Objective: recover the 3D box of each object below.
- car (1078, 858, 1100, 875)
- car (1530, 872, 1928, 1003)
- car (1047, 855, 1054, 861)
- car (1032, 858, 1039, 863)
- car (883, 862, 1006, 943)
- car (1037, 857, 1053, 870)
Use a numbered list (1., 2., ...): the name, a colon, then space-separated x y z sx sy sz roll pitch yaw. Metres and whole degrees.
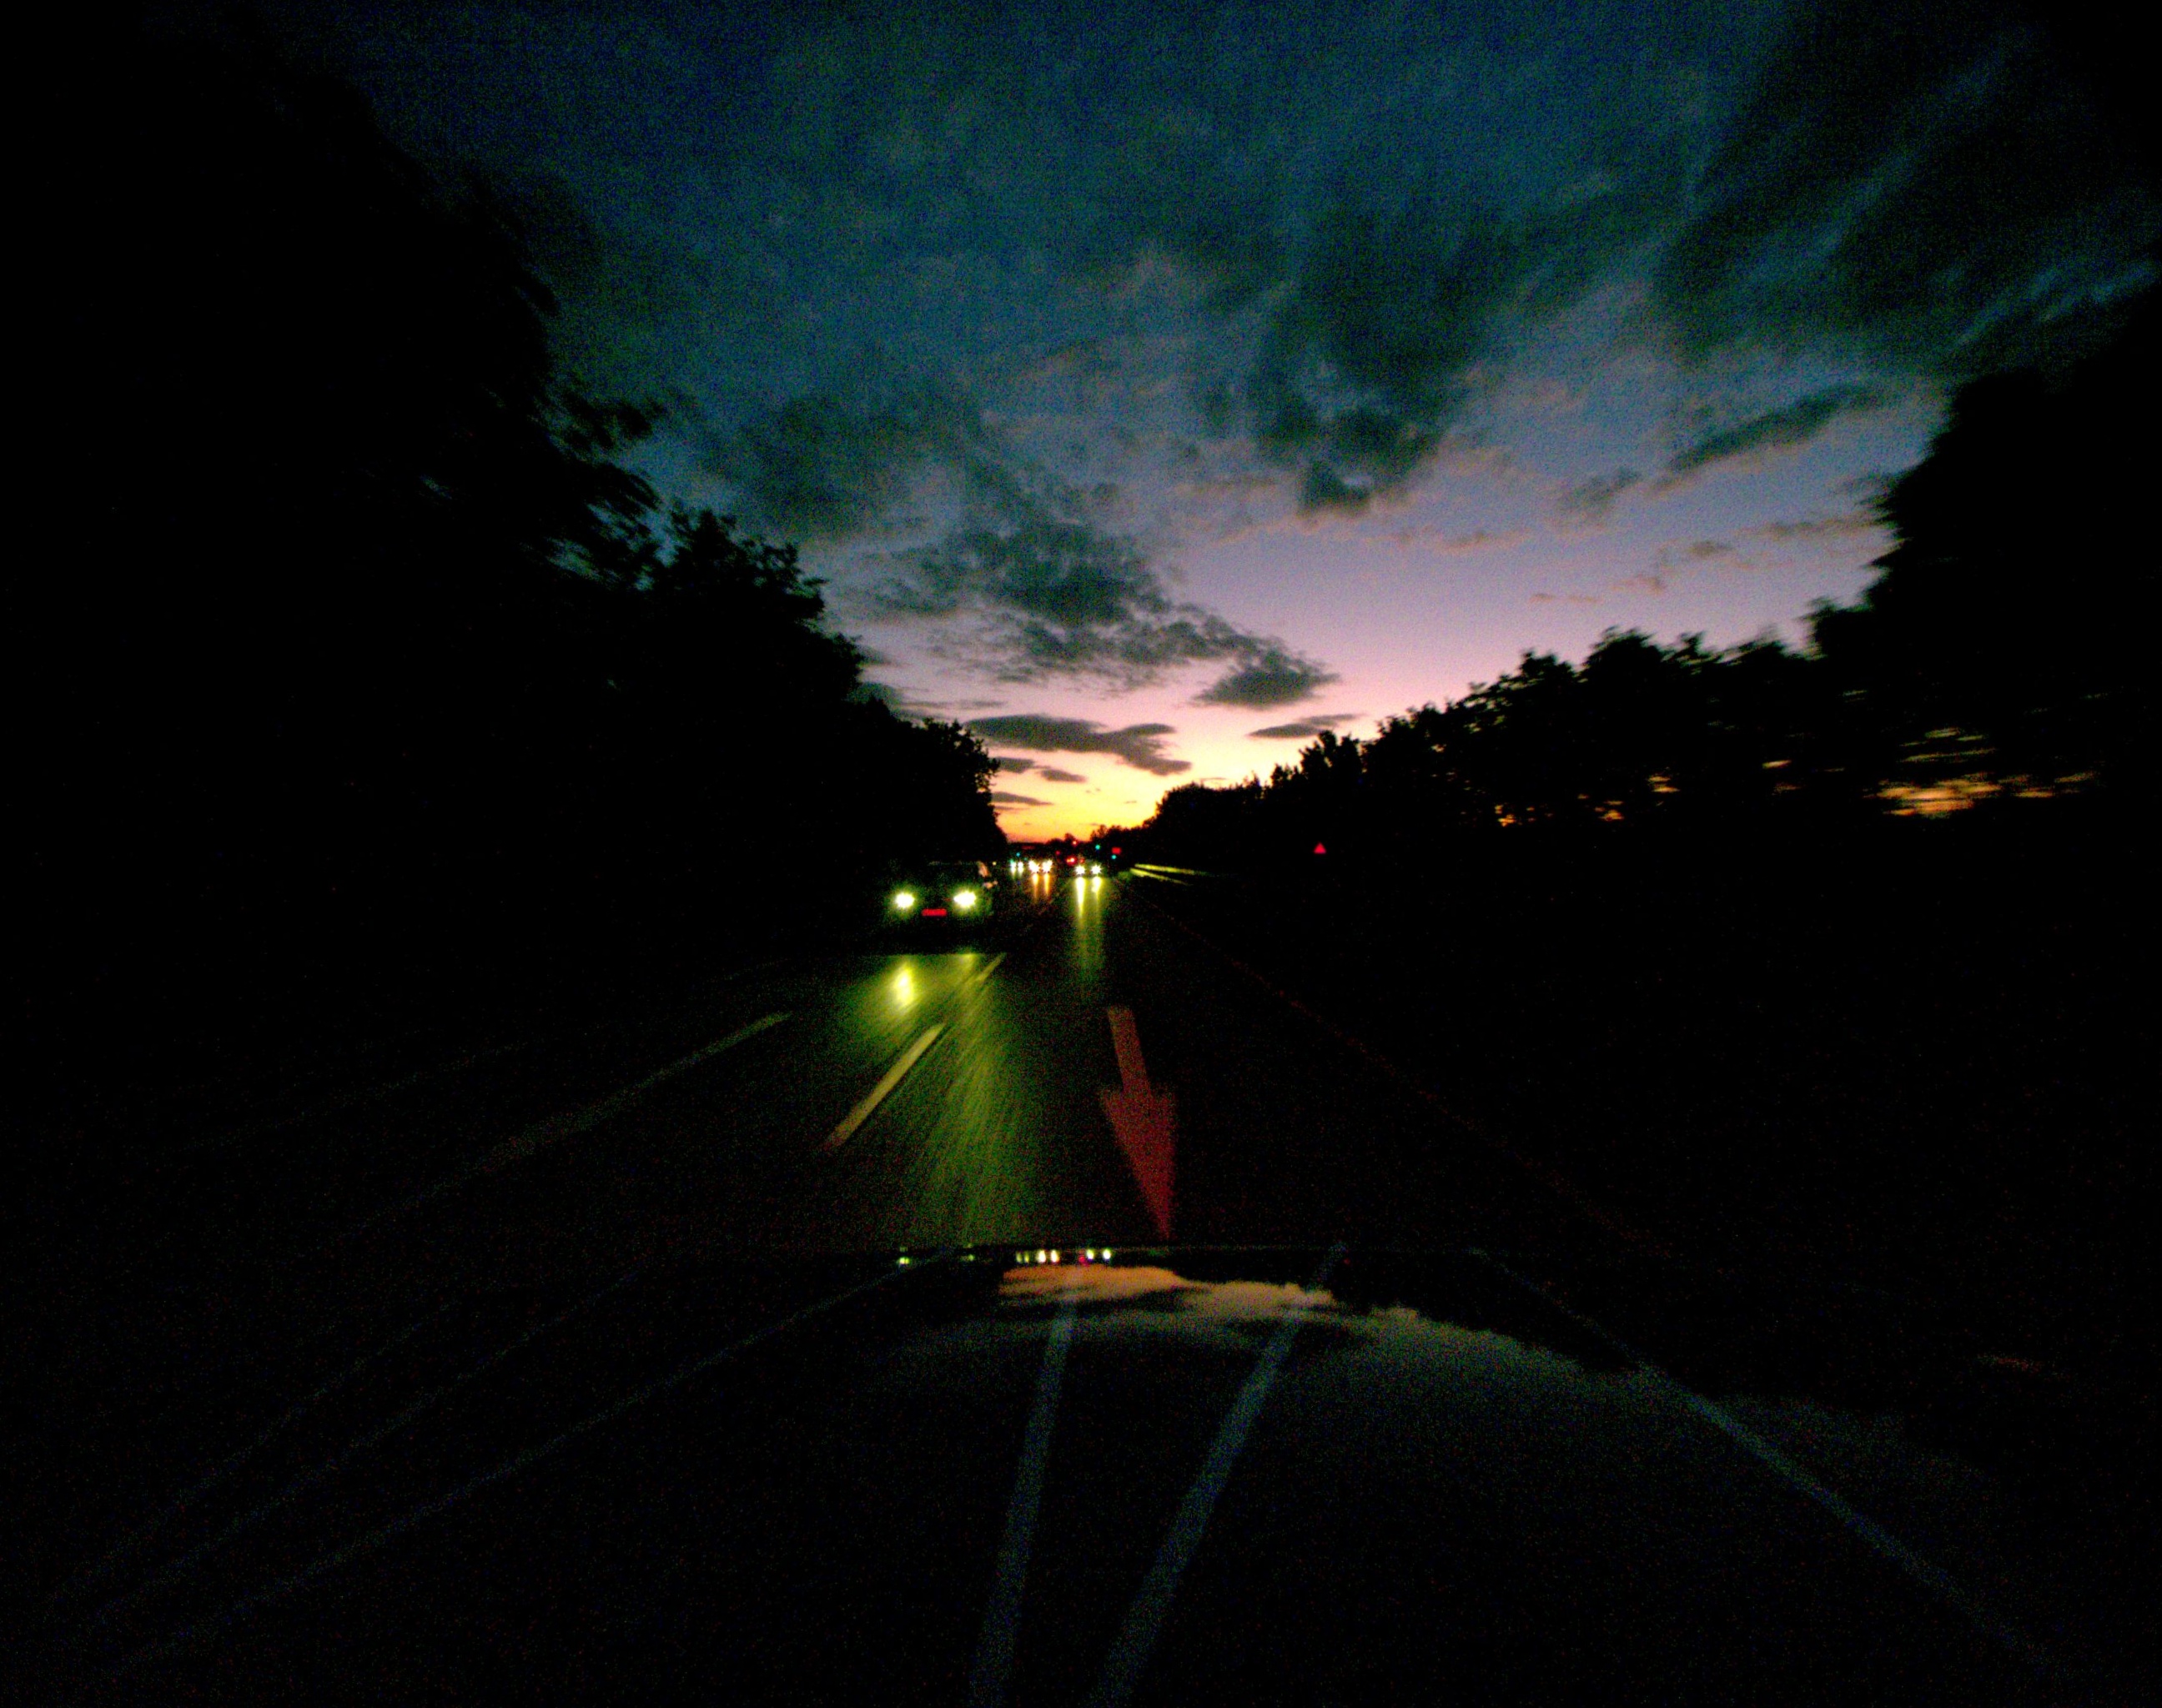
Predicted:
1. car: 0.742 1.113 69.976 1.901 1.472 4.514 -1 0 -1
2. car: 8.947 1.036 11.171 1.926 1.423 4.501 1 0 -1
3. car: -8.228 1.036 204.758 1.999 1.602 4.501 -1 0 -1
4. car: -13.248 1.887 222.744 1.999 1.423 4.501 1 0 -1
5. car: -3.053 1.017 17.996 1.998 1.600 4.711 -1 0 0
6. car: -4.322 1.141 90.993 1.624 1.460 3.871 -2 0 0
